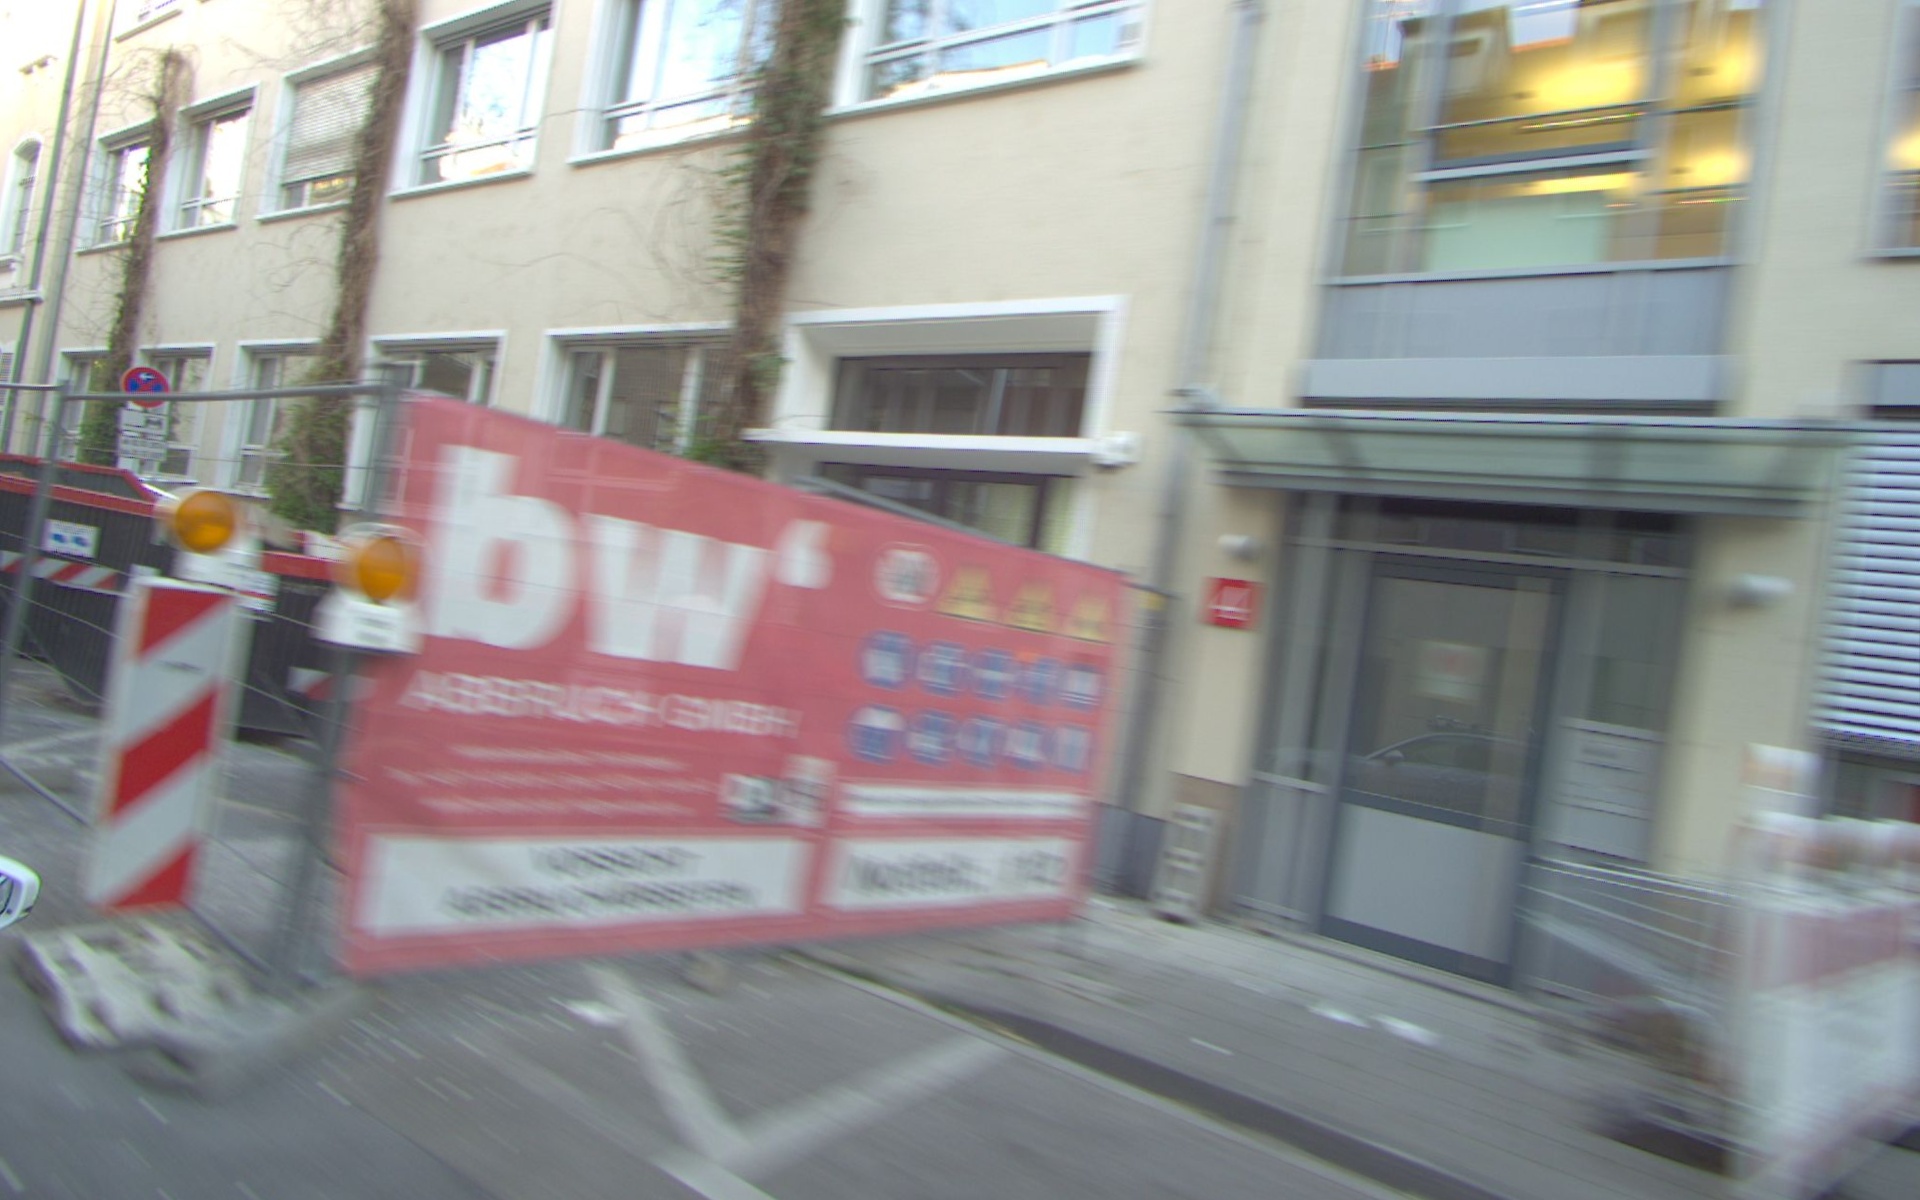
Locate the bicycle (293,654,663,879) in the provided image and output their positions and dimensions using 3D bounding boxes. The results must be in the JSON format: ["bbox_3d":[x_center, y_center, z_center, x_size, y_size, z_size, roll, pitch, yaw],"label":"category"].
[{"bbox_3d":[-2.321,0.844,4.962,1.477,0.907,0.394,11,-2,-31],"label":"bicycle"}]
